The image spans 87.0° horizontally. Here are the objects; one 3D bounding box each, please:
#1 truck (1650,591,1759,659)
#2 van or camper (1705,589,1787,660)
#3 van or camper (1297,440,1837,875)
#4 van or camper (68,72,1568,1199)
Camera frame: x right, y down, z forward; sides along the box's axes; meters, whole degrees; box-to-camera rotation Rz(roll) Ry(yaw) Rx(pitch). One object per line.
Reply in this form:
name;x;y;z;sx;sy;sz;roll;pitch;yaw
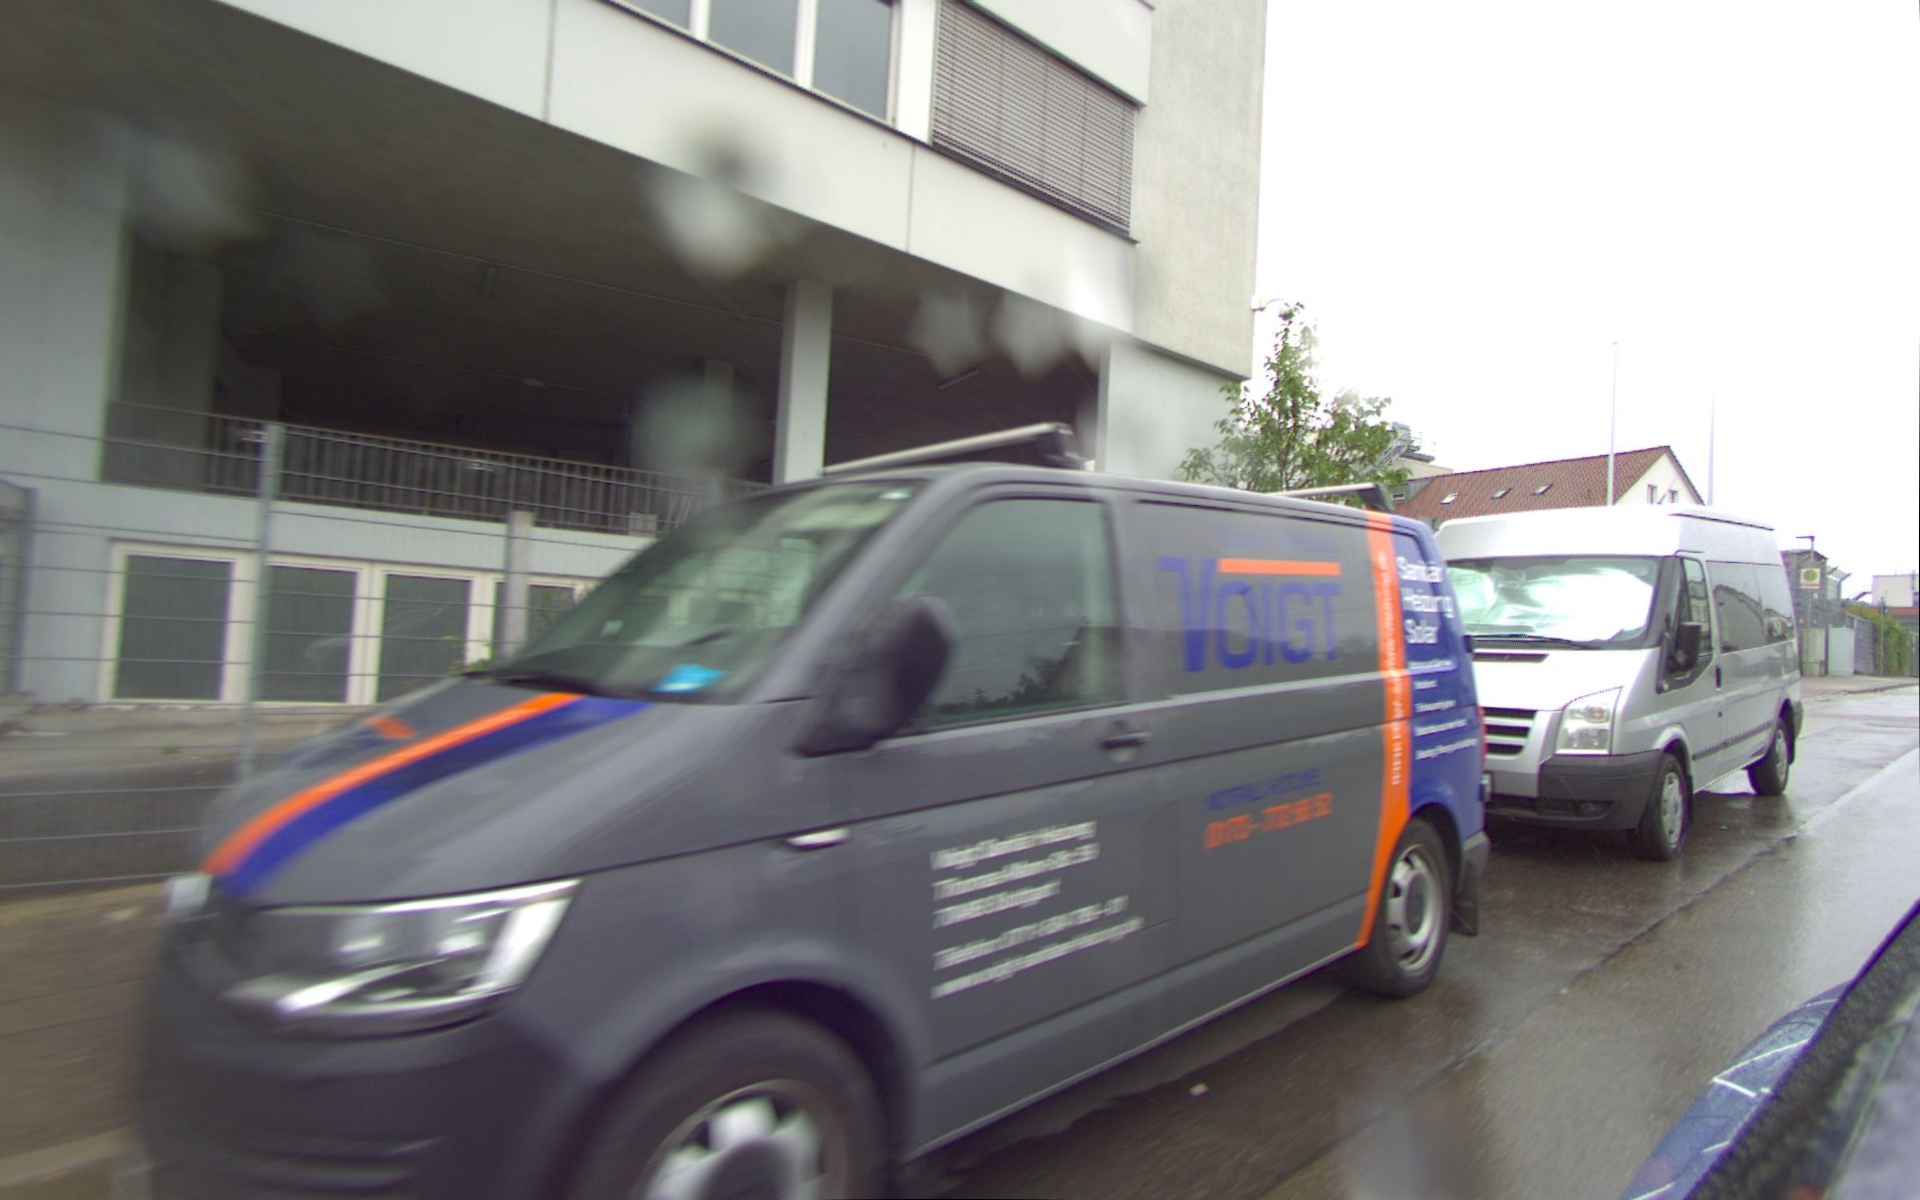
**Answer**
truck;35.714;1.222;48.464;6.999;3.006;2.326;3;-1;-38
van or camper;30.778;0.973;39.544;2.083;2.527;5.715;2;0;42
van or camper;4.948;0.312;7.804;5.345;2.271;1.997;1;0;-41
van or camper;0.183;0.429;3.694;5.111;2.140;1.997;1;0;-41
